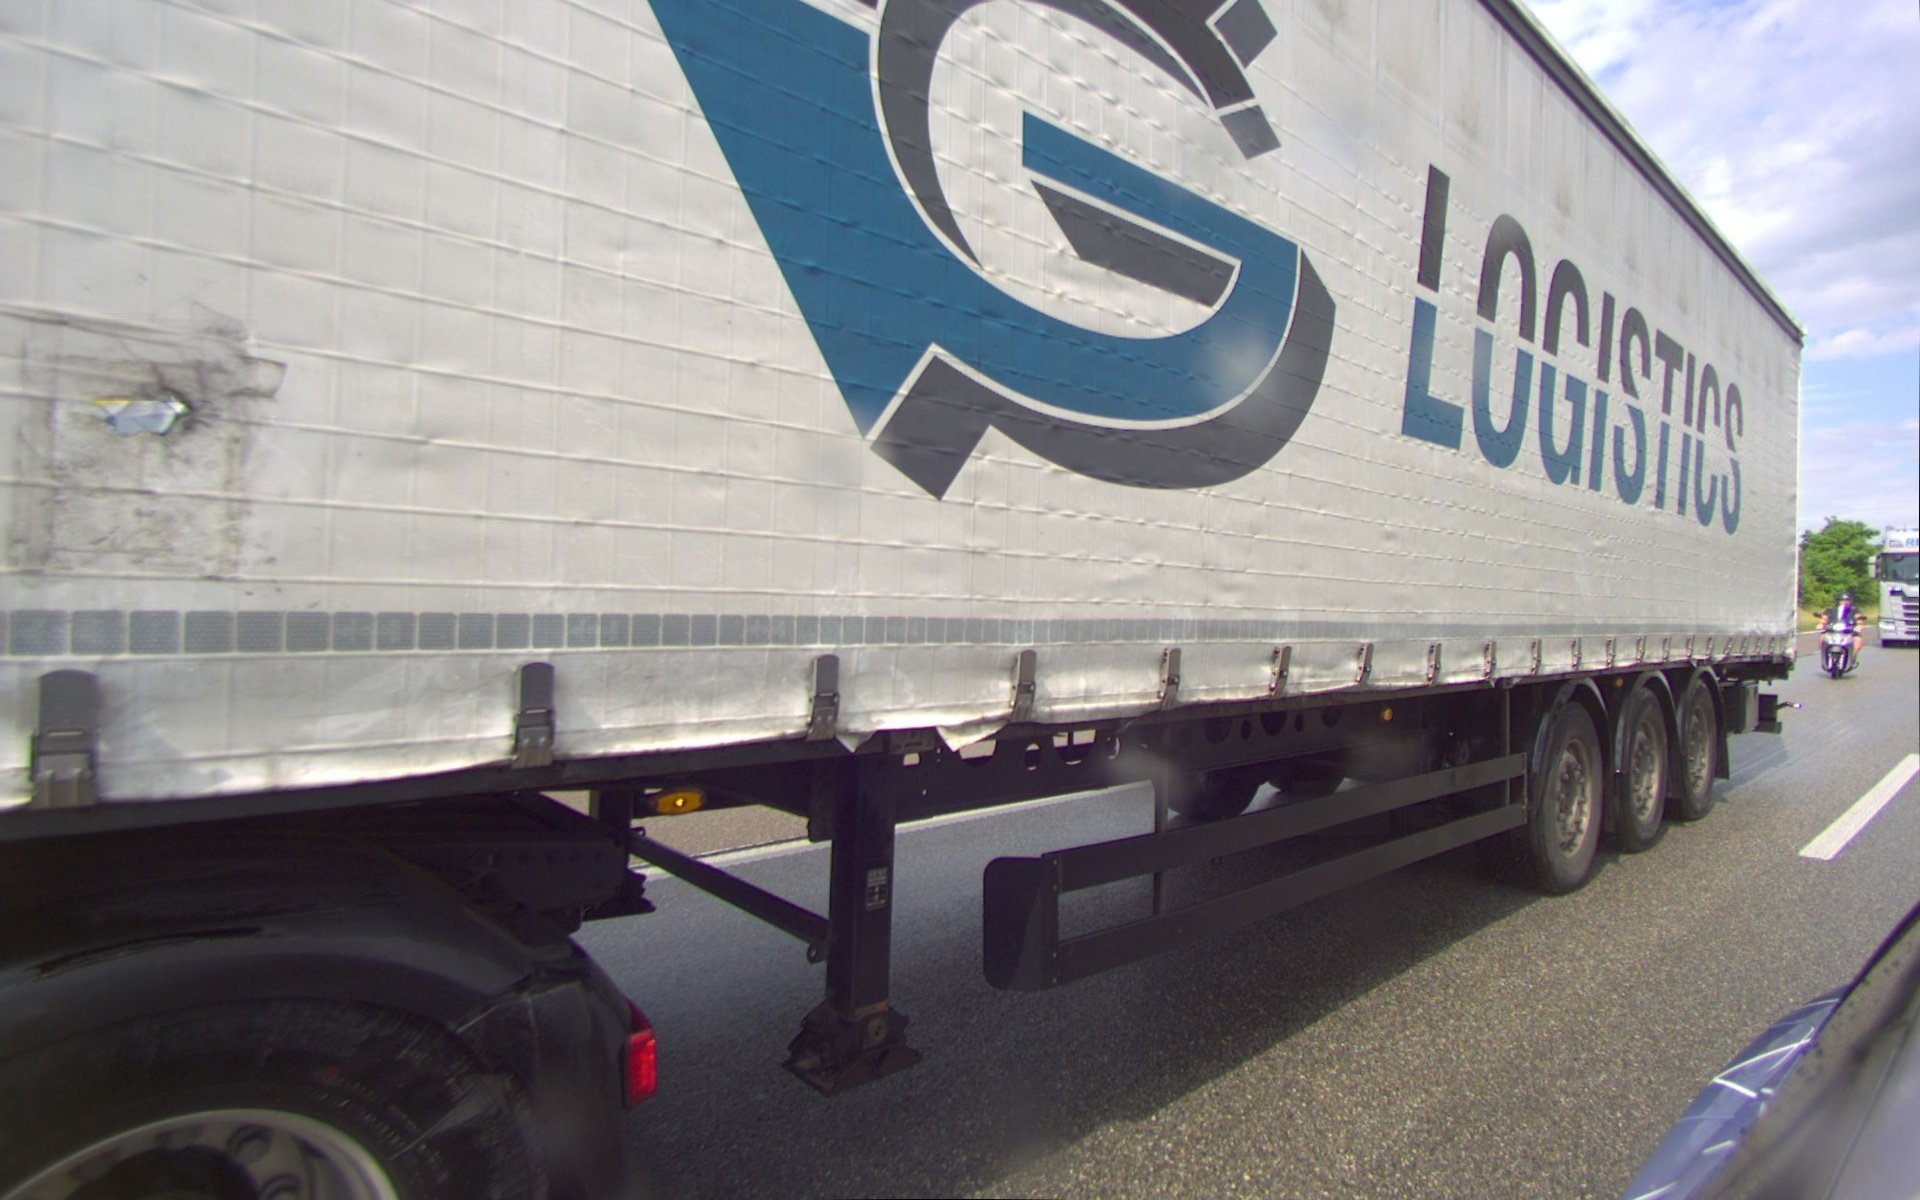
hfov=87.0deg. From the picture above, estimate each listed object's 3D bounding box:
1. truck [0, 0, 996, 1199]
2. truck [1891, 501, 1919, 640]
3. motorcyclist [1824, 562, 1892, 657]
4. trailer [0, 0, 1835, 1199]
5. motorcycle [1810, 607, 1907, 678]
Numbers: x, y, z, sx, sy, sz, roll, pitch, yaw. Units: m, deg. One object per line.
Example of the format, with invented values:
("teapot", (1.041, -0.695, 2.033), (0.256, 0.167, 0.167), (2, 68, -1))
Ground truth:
("truck", (-3.343, -0.574, 1.057), (6.286, 3.940, 3.288), (0, 0, -42))
("truck", (32.675, -0.954, 33.344), (6.773, 4.328, 2.644), (-1, 1, -45))
("motorcyclist", (16.879, 0.169, 19.012), (0.984, 1.728, 0.882), (0, 0, -44))
("trailer", (1.369, -0.606, 5.348), (13.886, 3.948, 3.288), (0, 0, -42))
("motorcycle", (17.006, 0.745, 19.118), (3.143, 1.163, 1.185), (-1, 1, -45))
